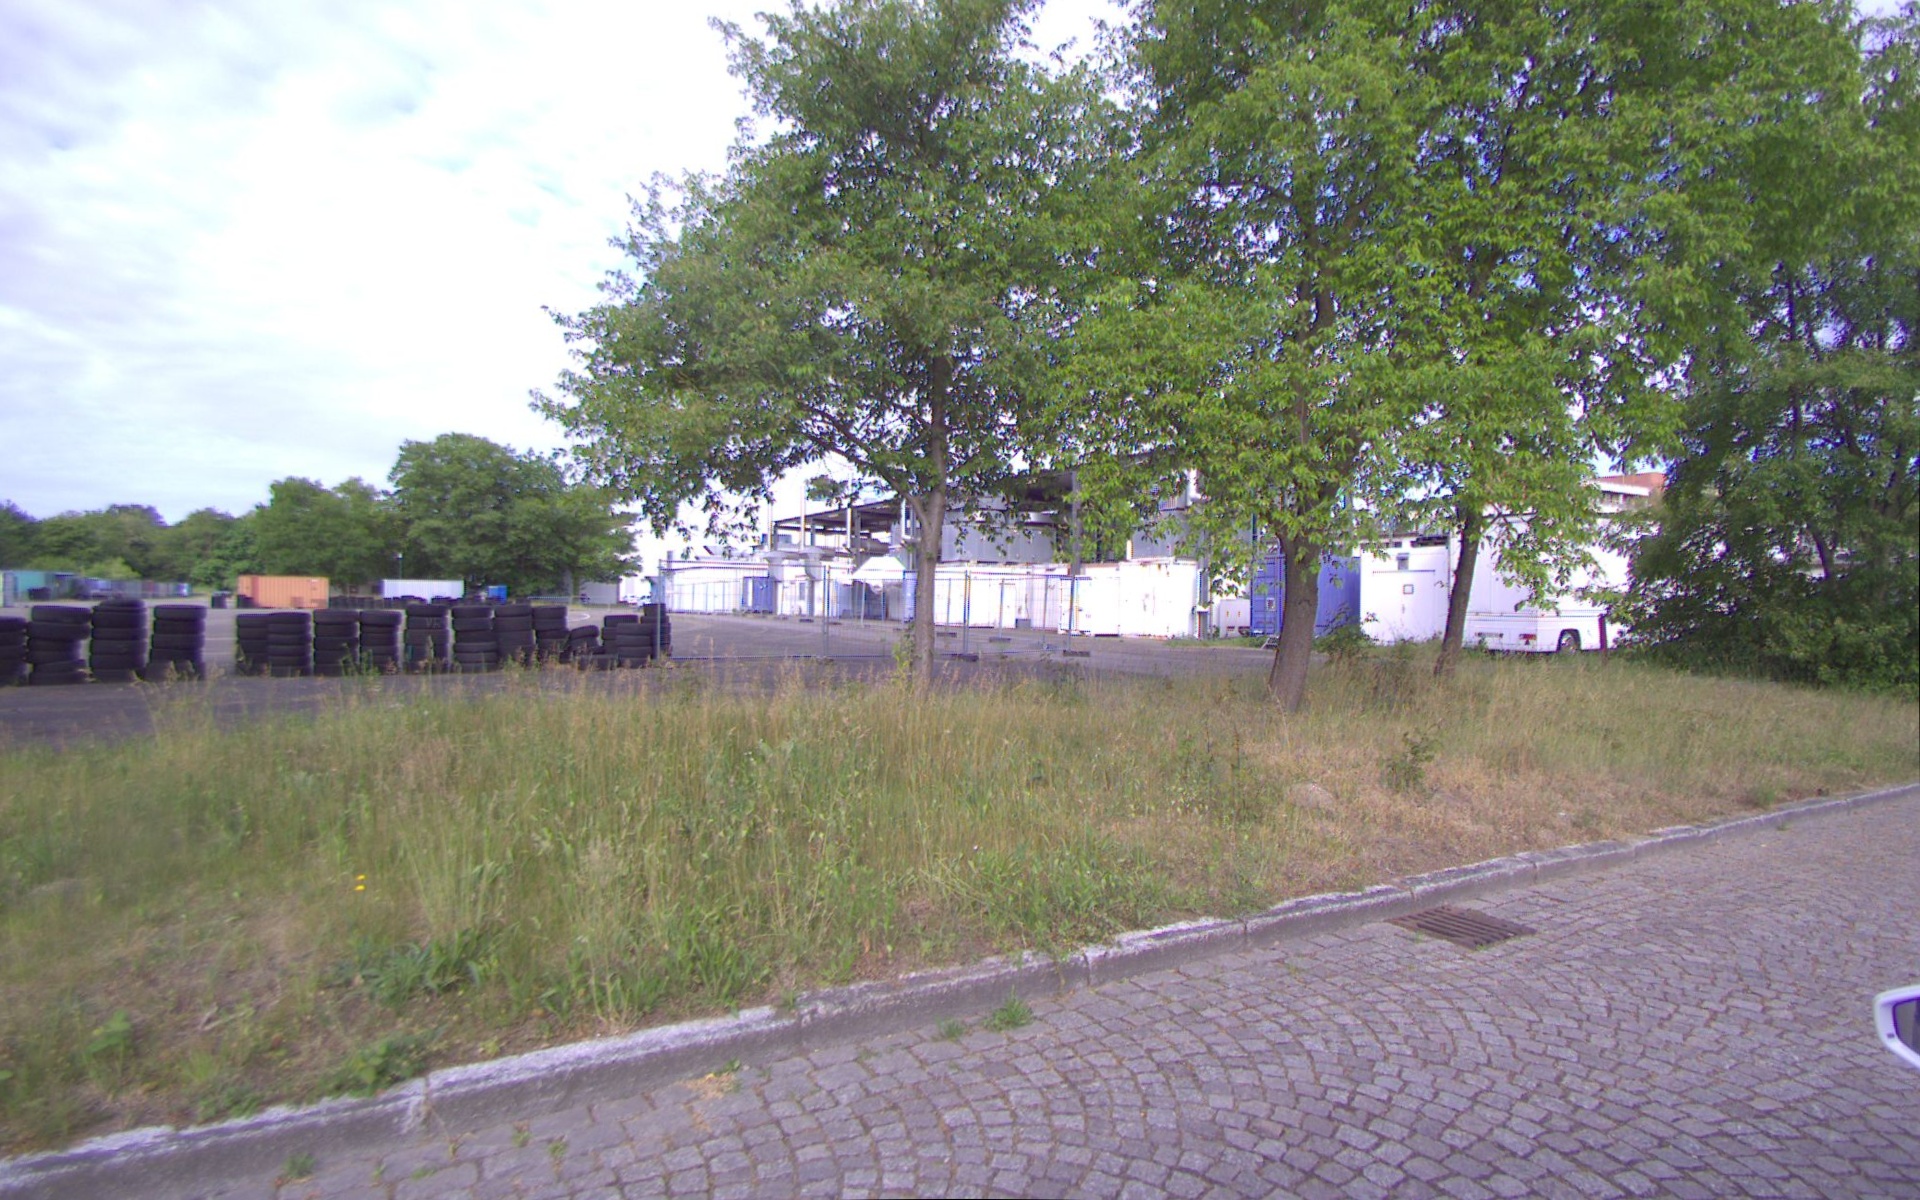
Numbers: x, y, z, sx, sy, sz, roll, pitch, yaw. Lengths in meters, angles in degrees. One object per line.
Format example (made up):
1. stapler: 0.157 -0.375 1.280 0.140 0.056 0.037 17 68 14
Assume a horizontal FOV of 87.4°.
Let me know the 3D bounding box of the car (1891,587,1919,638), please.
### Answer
1. car: 49.912 0.654 51.102 5.546 2.557 1.986 1 0 -27

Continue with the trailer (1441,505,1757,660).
1. trailer: 18.054 -0.367 28.037 10.587 3.755 2.646 1 0 -28

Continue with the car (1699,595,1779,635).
1. car: 45.072 0.840 58.119 4.722 2.236 1.893 1 0 -28
